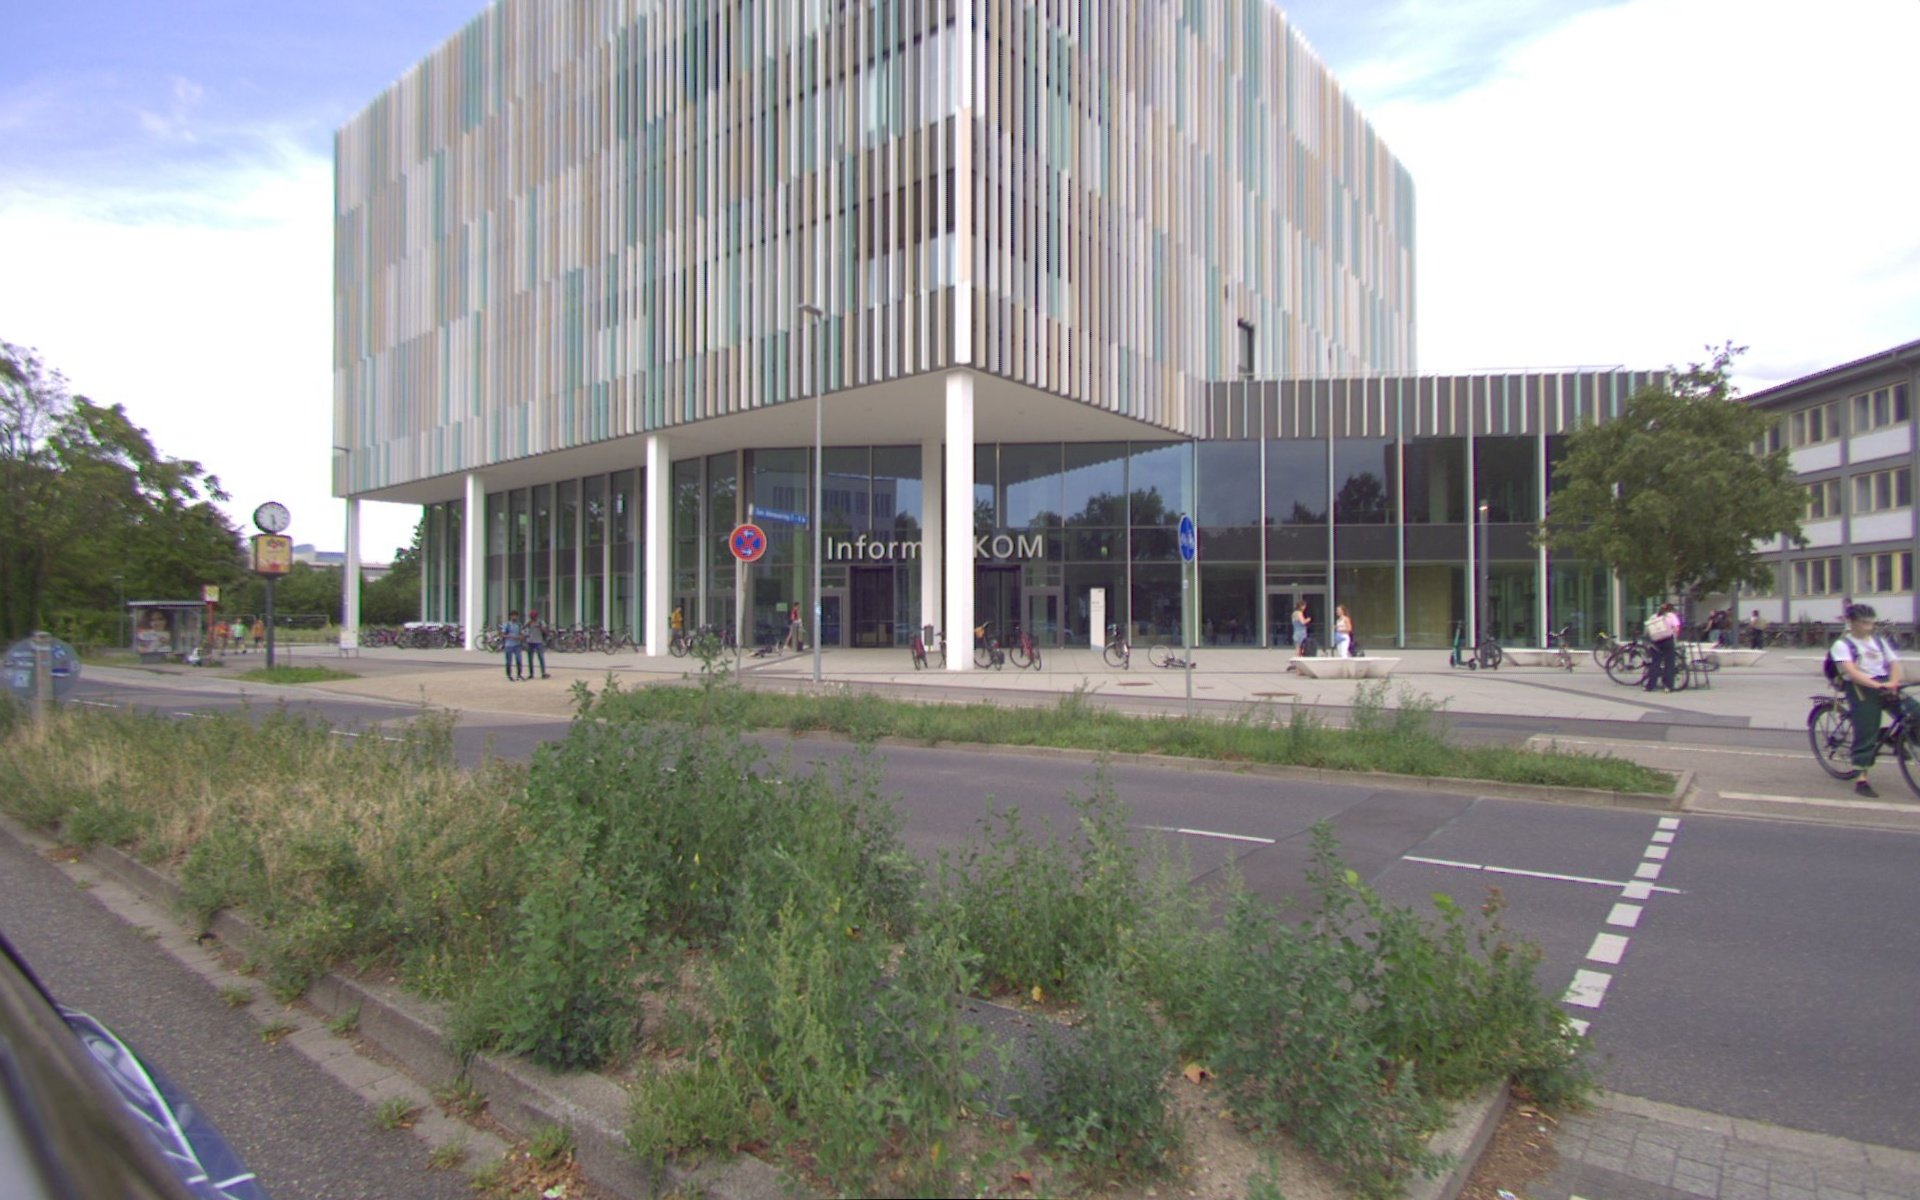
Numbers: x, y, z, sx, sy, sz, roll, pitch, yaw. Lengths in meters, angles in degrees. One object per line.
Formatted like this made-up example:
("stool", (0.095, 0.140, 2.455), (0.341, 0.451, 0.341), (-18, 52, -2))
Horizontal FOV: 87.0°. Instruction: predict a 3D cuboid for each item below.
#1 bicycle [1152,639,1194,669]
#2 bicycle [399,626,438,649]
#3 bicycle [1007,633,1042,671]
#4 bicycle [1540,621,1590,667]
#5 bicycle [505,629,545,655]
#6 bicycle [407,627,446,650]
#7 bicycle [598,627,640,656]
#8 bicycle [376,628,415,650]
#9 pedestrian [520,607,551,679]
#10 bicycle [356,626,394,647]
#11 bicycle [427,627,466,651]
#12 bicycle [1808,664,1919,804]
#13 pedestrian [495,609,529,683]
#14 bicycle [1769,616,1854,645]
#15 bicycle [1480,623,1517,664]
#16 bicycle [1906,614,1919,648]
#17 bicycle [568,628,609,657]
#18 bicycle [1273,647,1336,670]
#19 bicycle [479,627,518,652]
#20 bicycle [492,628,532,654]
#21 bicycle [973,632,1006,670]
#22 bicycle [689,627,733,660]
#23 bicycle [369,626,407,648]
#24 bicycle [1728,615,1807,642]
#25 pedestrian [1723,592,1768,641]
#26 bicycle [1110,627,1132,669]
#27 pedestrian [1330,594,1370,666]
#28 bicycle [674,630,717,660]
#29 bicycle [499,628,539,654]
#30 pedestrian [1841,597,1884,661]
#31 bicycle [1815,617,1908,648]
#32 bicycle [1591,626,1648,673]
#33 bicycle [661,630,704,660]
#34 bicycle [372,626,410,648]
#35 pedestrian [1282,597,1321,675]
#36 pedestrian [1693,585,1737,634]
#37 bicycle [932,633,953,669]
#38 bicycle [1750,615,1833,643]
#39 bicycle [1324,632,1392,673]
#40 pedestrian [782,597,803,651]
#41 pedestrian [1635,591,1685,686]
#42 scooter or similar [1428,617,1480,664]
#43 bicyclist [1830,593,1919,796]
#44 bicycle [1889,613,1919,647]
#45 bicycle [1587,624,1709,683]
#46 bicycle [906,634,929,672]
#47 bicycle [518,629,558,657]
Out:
("bicycle", (5.739, 1.443, 27.328), (0.387, 0.678, 1.800), (-2, 0, -13))
("bicycle", (-26.630, 1.848, 49.803), (0.433, 1.031, 1.684), (-1, 0, 35))
("bicycle", (1.751, 1.394, 27.526), (0.387, 0.944, 1.603), (-2, 0, -17))
("bicycle", (15.528, 1.108, 26.026), (0.792, 1.097, 2.660), (-1, -1, 25))
("bicycle", (-18.351, 1.754, 42.694), (0.388, 1.031, 1.564), (-1, 0, 35))
("bicycle", (-25.967, 1.845, 49.270), (0.433, 1.031, 1.684), (-1, 0, 35))
("bicycle", (-13.007, 1.568, 38.619), (0.388, 1.031, 1.564), (-1, 0, 35))
("bicycle", (-28.569, 1.986, 51.274), (0.433, 1.031, 1.684), (-1, 0, 35))
("pedestrian", (-11.023, 1.106, 26.261), (0.624, 1.851, 0.506), (-3, -3, 39))
("bicycle", (-31.089, 1.942, 53.803), (0.433, 1.031, 1.684), (-1, 0, 35))
("bicycle", (-24.543, 1.865, 48.418), (0.388, 1.031, 1.684), (-1, 0, 35))
("bicycle", (8.182, 1.124, 8.861), (0.725, 0.996, 1.806), (-1, 0, 26))
("pedestrian", (-11.419, 1.179, 25.797), (0.772, 1.851, 0.506), (-3, -3, 39))
("bicycle", (34.533, 1.219, 41.056), (2.641, 1.142, 0.744), (-1, -1, 6))
("bicycle", (13.987, 1.099, 26.334), (0.669, 1.007, 2.660), (-1, -1, 25))
("bicycle", (33.481, 1.029, 33.901), (2.641, 1.142, 0.744), (-1, -1, 6))
("bicycle", (-14.651, 1.663, 39.975), (0.388, 1.031, 1.564), (-1, 0, 35))
("bicycle", (8.859, 1.498, 26.126), (0.614, 0.526, 2.254), (0, -1, -8))
("bicycle", (-20.082, 1.705, 44.078), (0.388, 1.031, 1.564), (-1, 0, 35))
("bicycle", (-19.198, 1.757, 43.408), (0.388, 1.031, 1.564), (-1, 0, 35))
("bicycle", (0.790, 1.369, 27.370), (0.387, 0.944, 1.603), (-2, 0, -17))
("bicycle", (-8.414, 1.458, 34.185), (0.398, 1.002, 1.528), (-1, 0, 36))
("bicycle", (-29.901, 1.924, 52.916), (0.433, 1.031, 1.684), (-1, 0, 35))
("bicycle", (34.797, 1.217, 43.653), (2.641, 1.142, 0.744), (-1, -1, 6))
("pedestrian", (31.875, 0.665, 41.090), (0.963, 1.945, 1.069), (-1, -1, 6))
("bicycle", (4.319, 1.274, 27.267), (0.389, 1.037, 1.545), (-1, 0, 2))
("pedestrian", (8.854, 0.684, 22.985), (0.671, 1.612, 0.728), (-1, -1, 9))
("bicycle", (-9.056, 1.537, 34.701), (0.393, 0.944, 1.528), (-1, 0, 35))
("bicycle", (-18.754, 1.725, 43.095), (0.388, 1.031, 1.564), (-1, 0, 35))
("pedestrian", (25.417, 0.810, 28.514), (0.629, 1.792, 0.595), (-1, -1, 9))
("bicycle", (34.208, 1.221, 38.415), (2.641, 1.142, 0.744), (-1, -1, 6))
("bicycle", (16.592, 1.222, 25.510), (0.792, 1.097, 2.660), (-1, -1, 25))
("bicycle", (-9.599, 1.544, 35.090), (0.388, 0.944, 1.528), (-1, 0, 35))
("bicycle", (-29.338, 1.915, 52.221), (0.433, 1.031, 1.684), (-1, 0, 35))
("pedestrian", (7.751, 0.815, 22.998), (0.670, 1.753, 0.729), (-1, -1, 6))
("pedestrian", (30.443, 0.380, 40.821), (0.963, 1.945, 1.069), (-1, 0, 6))
("bicycle", (-0.491, 1.439, 28.793), (0.389, 0.944, 1.595), (-1, 0, 6))
("bicycle", (34.740, 1.217, 42.304), (2.641, 1.142, 0.744), (-1, -1, 6))
("bicycle", (10.321, 1.336, 26.359), (0.614, 0.992, 2.254), (0, -1, -8))
("pedestrian", (-6.338, 0.912, 38.308), (0.624, 2.059, 0.505), (-3, -3, 42))
("pedestrian", (12.027, 0.656, 17.395), (0.574, 1.593, 0.643), (-2, -2, 45))
("scooter or similar", (13.264, 1.073, 27.232), (0.589, 1.207, 2.120), (-1, -1, 8))
("bicyclist", (8.121, 0.785, 8.749), (0.720, 1.685, 0.722), (-1, 0, 26))
("bicycle", (33.948, 1.023, 35.059), (2.641, 1.142, 0.744), (-1, -1, 6))
("bicycle", (12.319, 0.940, 18.161), (1.749, 1.006, 0.434), (-2, -2, 43))
("bicycle", (-1.155, 1.435, 27.801), (0.389, 0.944, 1.608), (-1, 0, 6))
("bicycle", (-17.249, 1.752, 41.386), (0.388, 1.031, 1.564), (-1, 0, 35))
